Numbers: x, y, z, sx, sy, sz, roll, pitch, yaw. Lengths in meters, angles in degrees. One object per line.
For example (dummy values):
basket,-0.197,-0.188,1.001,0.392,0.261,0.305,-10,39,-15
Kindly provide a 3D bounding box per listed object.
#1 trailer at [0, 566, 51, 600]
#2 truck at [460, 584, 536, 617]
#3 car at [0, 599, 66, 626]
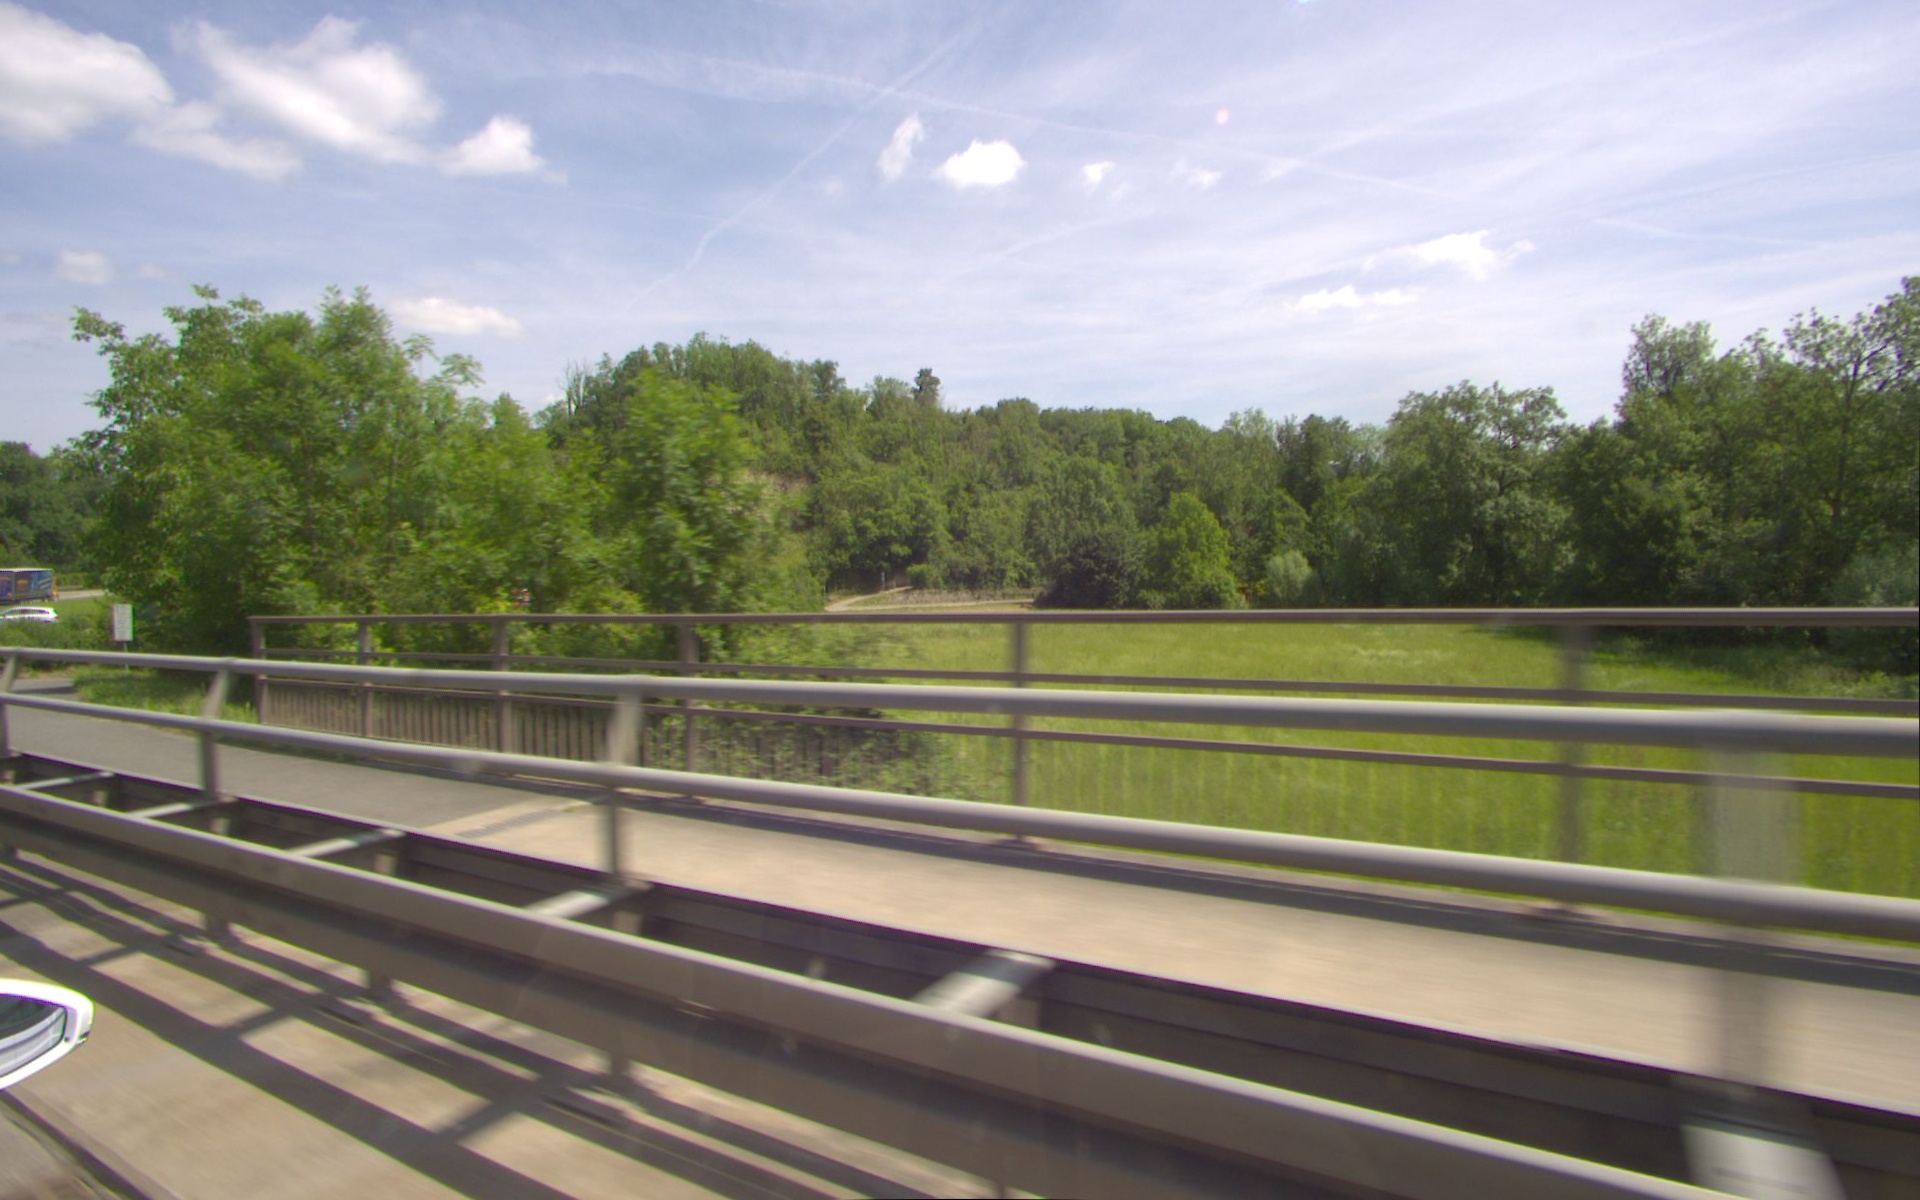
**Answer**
trailer,-109.230,-1.937,116.234,3.213,3.734,9.210,1,0,-27
truck,-40.961,0.049,88.820,5.943,2.762,2.490,1,-2,-29
car,-62.749,0.857,66.949,4.400,1.740,1.981,2,-3,-44
